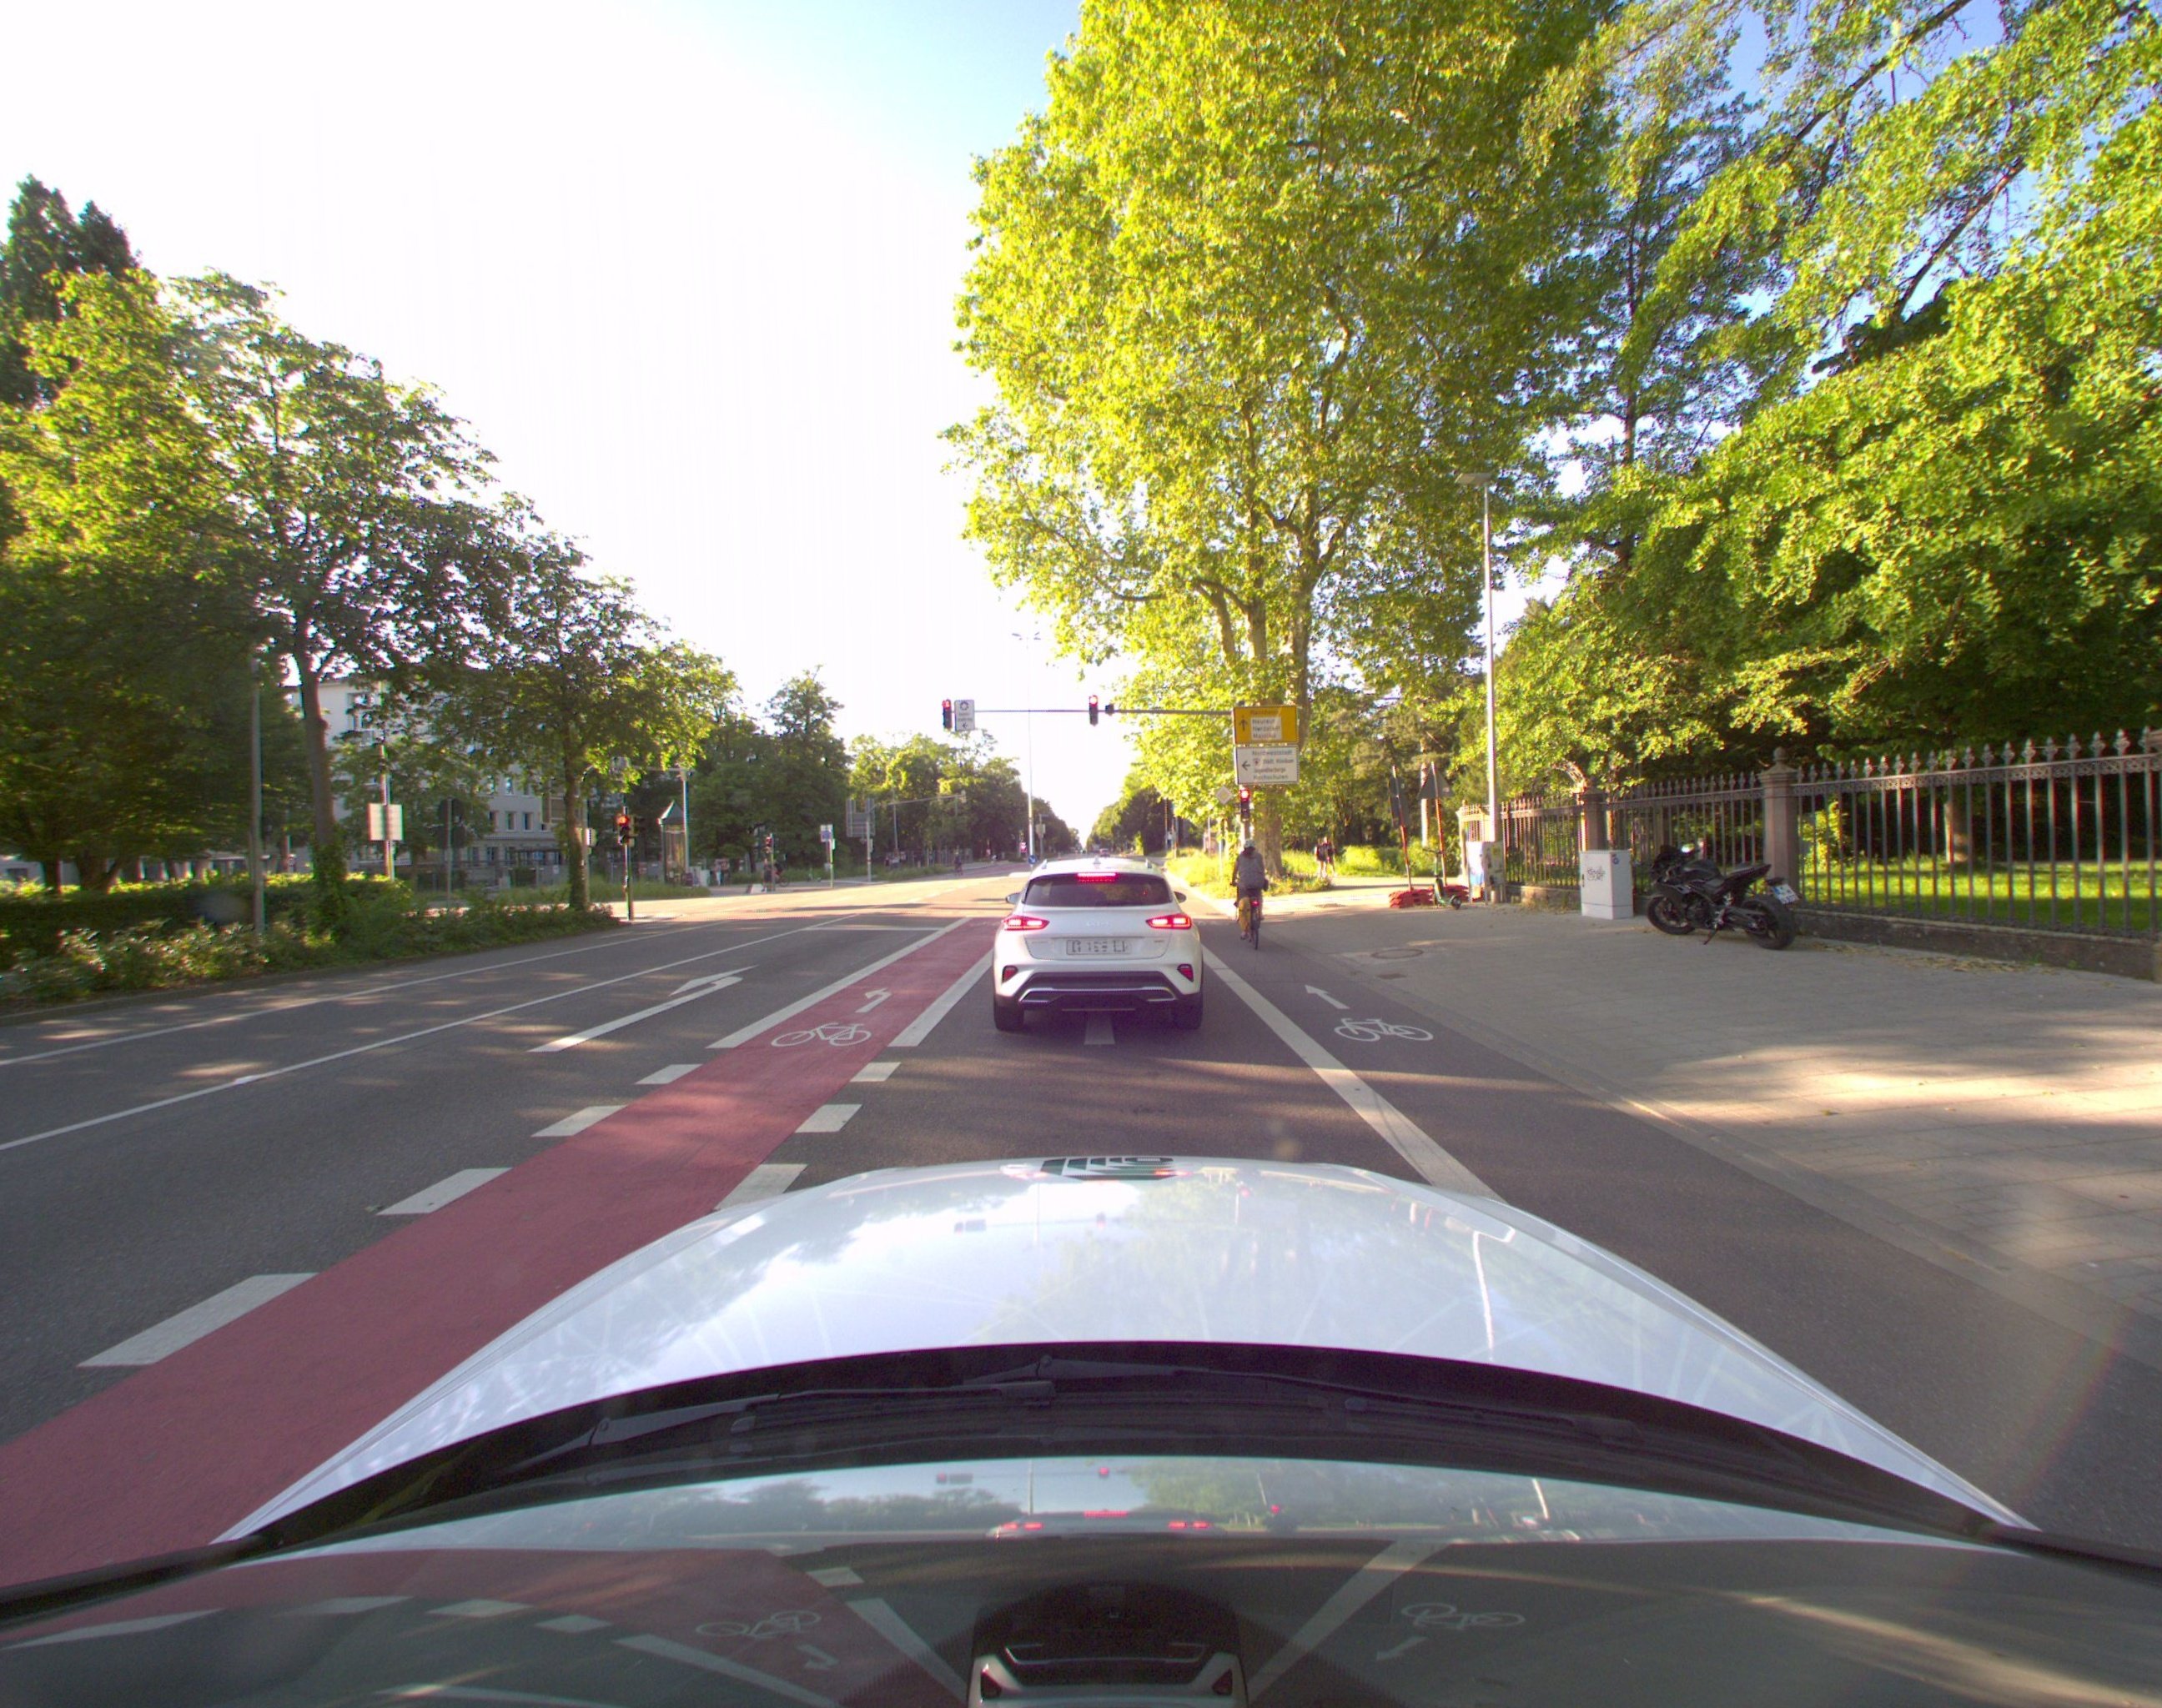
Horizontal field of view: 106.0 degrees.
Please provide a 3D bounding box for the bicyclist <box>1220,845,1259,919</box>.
[{"bbox_3d":[3.335,0.581,17.183,0.552,1.478,0.717,-5,0,0],"label":"bicyclist"}]

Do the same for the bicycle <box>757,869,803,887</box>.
[{"bbox_3d":[-19.614,1.562,53.015,2.701,0.989,0.580,-3,0,-5],"label":"bicycle"}]

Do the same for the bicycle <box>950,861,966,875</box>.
[{"bbox_3d":[-9.284,1.031,61.551,0.660,0.989,2.507,-3,0,4],"label":"bicycle"}]

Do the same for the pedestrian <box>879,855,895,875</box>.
[{"bbox_3d":[-16.289,0.892,68.301,1.086,1.603,0.999,-3,0,-5],"label":"pedestrian"}]

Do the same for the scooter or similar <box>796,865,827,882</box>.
[{"bbox_3d":[-18.802,1.357,56.857,0.703,1.124,1.933,-1,0,39],"label":"scooter or similar"}]

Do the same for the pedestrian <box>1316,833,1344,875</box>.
[{"bbox_3d":[10.758,0.002,35.192,0.816,1.771,0.831,-3,0,-5],"label":"pedestrian"}]

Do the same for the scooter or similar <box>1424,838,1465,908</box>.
[{"bbox_3d":[7.168,0.364,16.083,0.227,1.327,1.172,-3,0,0],"label":"scooter or similar"}]

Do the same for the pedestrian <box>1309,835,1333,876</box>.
[{"bbox_3d":[10.087,0.053,34.243,0.688,1.699,0.643,-3,0,-5],"label":"pedestrian"}]

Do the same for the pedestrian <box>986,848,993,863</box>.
[{"bbox_3d":[-11.874,0.203,105.920,0.637,2.014,0.756,-1,-1,12],"label":"pedestrian"}]

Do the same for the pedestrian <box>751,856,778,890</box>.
[{"bbox_3d":[-18.721,1.113,48.172,0.990,2.014,1.193,-1,0,7],"label":"pedestrian"}]

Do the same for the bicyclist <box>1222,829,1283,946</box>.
[{"bbox_3d":[2.747,0.507,13.118,0.750,1.795,1.165,0,0,0],"label":"bicyclist"}]

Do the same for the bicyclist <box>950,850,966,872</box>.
[{"bbox_3d":[-9.304,0.536,61.593,0.871,1.608,1.189,-3,0,4],"label":"bicyclist"}]

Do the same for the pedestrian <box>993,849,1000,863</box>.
[{"bbox_3d":[-10.973,0.239,106.183,0.782,1.785,0.751,-1,-1,2],"label":"pedestrian"}]

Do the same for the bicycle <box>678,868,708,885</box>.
[{"bbox_3d":[-26.425,1.523,55.443,1.852,1.148,0.444,-1,-1,6],"label":"bicycle"}]

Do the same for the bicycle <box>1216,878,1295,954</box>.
[{"bbox_3d":[2.748,0.944,13.115,0.755,1.013,2.569,0,0,0],"label":"bicycle"}]

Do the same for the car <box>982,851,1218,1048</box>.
[{"bbox_3d":[0.167,0.742,8.355,1.815,1.480,3.936,-1,0,0],"label":"car"}]

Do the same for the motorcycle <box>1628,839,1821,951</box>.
[{"bbox_3d":[7.423,0.430,9.556,0.504,1.131,2.170,-4,0,0],"label":"motorcycle"}]

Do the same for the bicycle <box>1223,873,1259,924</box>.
[{"bbox_3d":[3.354,0.908,17.159,0.400,0.956,1.551,-5,0,0],"label":"bicycle"}]

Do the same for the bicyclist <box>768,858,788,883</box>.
[{"bbox_3d":[-19.718,1.067,53.002,0.973,1.606,0.876,-3,0,-5],"label":"bicyclist"}]

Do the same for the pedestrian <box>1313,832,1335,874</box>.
[{"bbox_3d":[10.343,-0.042,34.700,0.615,1.771,0.645,-3,0,-5],"label":"pedestrian"}]

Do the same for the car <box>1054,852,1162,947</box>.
[{"bbox_3d":[0.458,0.757,15.330,1.723,1.483,3.516,-3,0,0],"label":"car"}]

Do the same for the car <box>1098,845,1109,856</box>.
[{"bbox_3d":[4.186,-0.708,152.857,1.986,2.013,4.002,-3,0,2],"label":"car"}]

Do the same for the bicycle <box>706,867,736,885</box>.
[{"bbox_3d":[-24.376,1.473,55.100,1.859,1.148,0.290,-1,-1,-6],"label":"bicycle"}]
